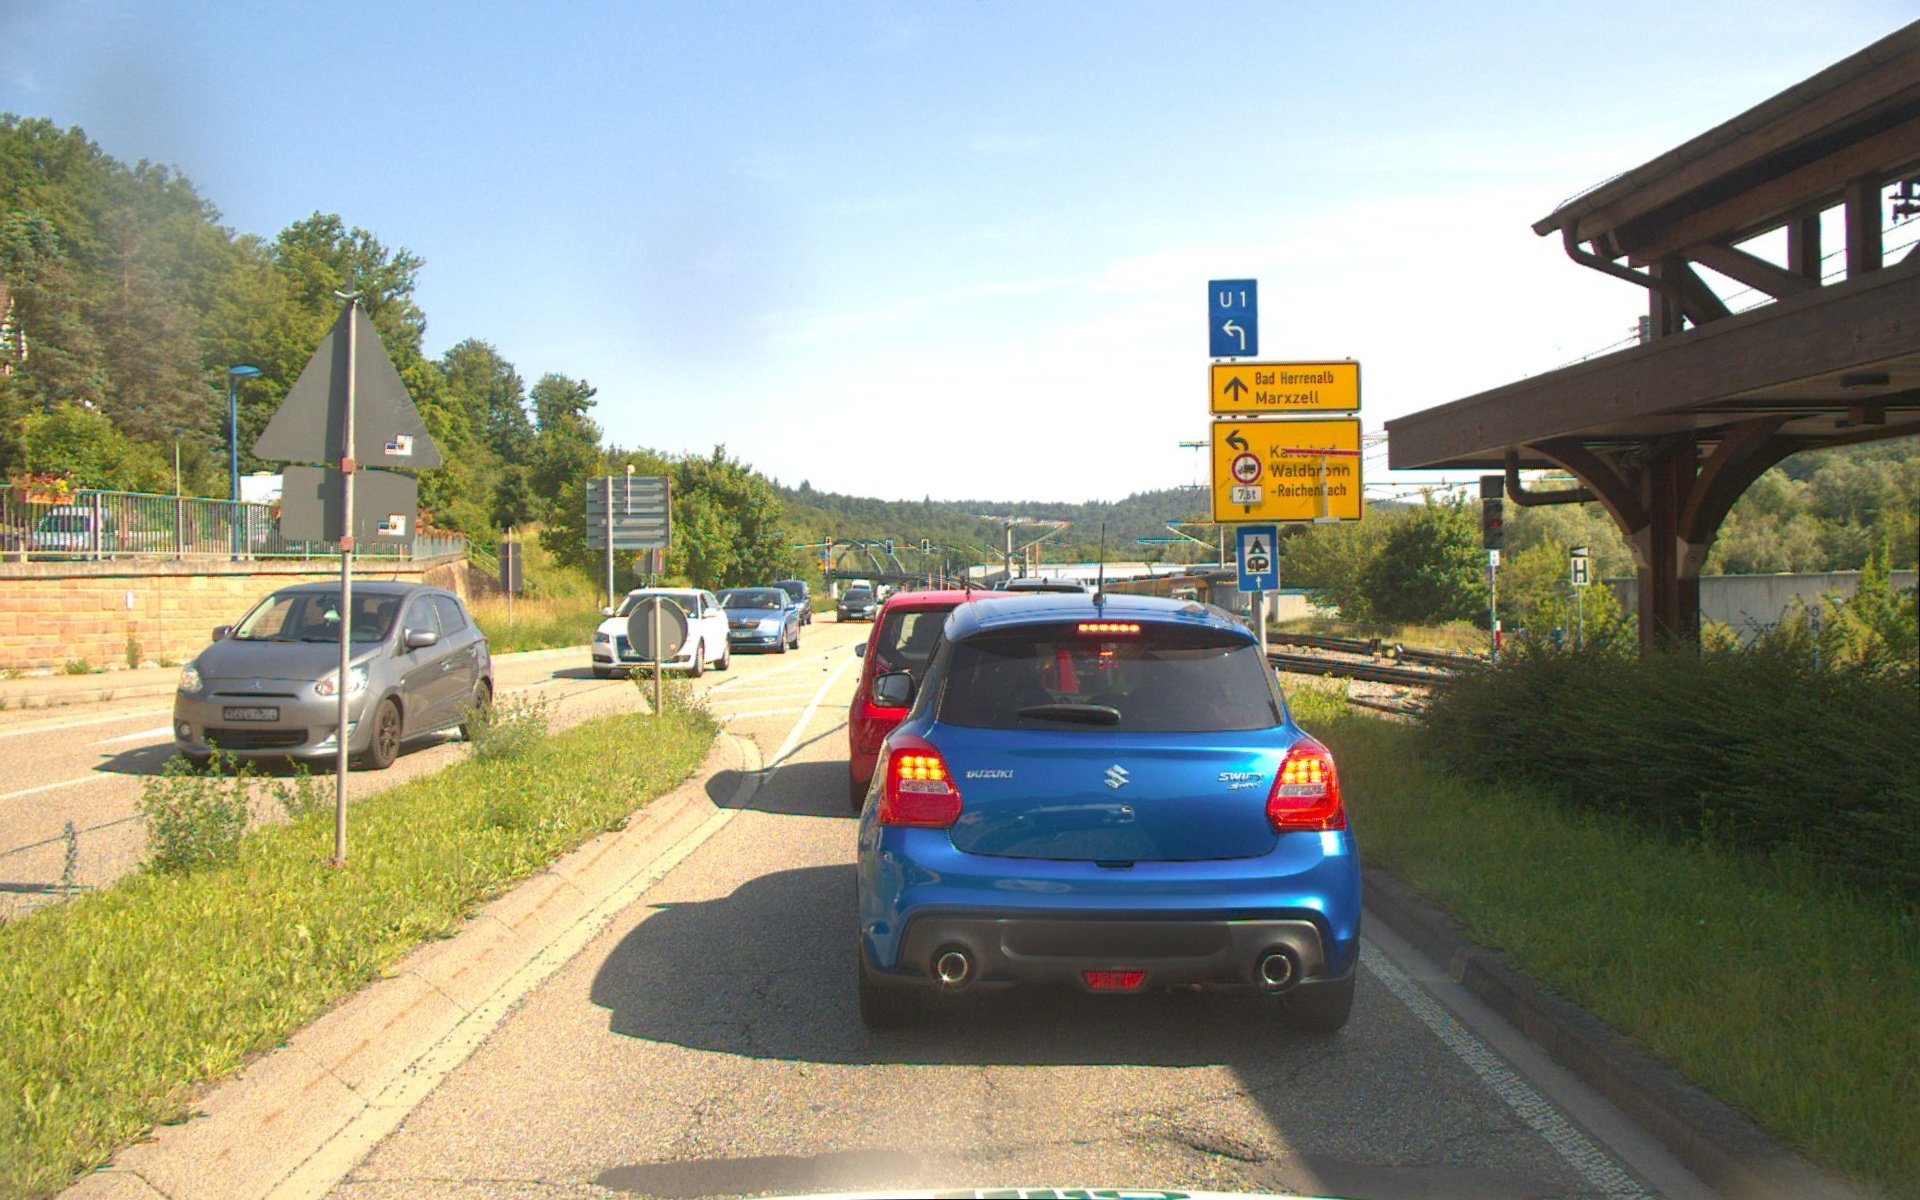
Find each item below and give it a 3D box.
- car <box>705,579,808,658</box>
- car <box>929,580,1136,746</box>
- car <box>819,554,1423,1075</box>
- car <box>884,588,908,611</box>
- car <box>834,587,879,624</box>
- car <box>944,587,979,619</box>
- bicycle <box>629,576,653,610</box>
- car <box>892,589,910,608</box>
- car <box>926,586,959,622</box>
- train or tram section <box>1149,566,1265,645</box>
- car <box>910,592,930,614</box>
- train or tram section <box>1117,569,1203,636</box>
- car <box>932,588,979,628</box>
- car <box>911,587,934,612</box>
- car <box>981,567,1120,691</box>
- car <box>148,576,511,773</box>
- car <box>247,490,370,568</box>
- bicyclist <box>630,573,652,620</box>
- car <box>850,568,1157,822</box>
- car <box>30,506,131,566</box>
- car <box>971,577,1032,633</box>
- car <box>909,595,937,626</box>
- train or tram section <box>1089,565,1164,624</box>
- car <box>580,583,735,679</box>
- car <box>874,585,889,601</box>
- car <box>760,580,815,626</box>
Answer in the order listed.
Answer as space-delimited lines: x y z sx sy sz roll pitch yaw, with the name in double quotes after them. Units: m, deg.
-4.577 0.379 37.699 1.795 1.493 3.812 2 3 1 "car"
0.719 0.574 17.969 1.952 1.558 4.602 0 1 1 "car"
0.444 0.640 7.026 1.831 1.575 3.999 1 0 -2 "car"
-5.399 -0.058 140.093 1.953 1.814 3.999 1 0 -1 "car"
-4.629 0.231 74.378 1.795 1.456 3.810 2 1 -2 "car"
0.100 0.139 88.874 1.794 1.519 3.812 2 1 1 "car"
-10.556 -0.232 54.695 0.555 1.061 1.550 2 1 -4 "bicycle"
-7.024 -0.179 196.075 1.953 2.048 4.000 2 1 -1 "car"
-1.082 0.226 103.286 1.953 2.048 4.000 2 1 -1 "car"
11.620 0.199 79.371 2.798 3.423 14.347 1 0 -2 "train or tram section"
-4.061 0.308 168.721 1.953 2.048 4.000 2 1 -1 "car"
11.027 0.142 92.392 2.731 3.423 12.041 2 0 -3 "train or tram section"
-0.159 0.312 67.474 1.794 1.456 3.812 2 1 1 "car"
-3.315 -0.063 146.340 1.953 2.048 4.000 2 1 -1 "car"
1.330 0.389 25.995 1.952 1.716 4.497 2 1 1 "car"
-5.277 0.561 14.395 1.637 1.466 3.840 1 0 1 "car"
-17.737 -1.909 45.282 1.982 1.953 4.724 2 1 -7 "car"
-10.546 -0.126 54.698 0.617 1.533 0.505 2 1 -4 "bicyclist"
0.305 0.612 12.694 1.952 1.598 4.000 1 0 1 "car"
-26.155 -1.869 49.324 1.864 1.658 3.982 0 1 -16 "car"
1.376 0.134 56.380 1.952 1.766 4.000 2 1 1 "car"
-2.690 0.756 120.781 1.953 2.048 4.000 2 1 -1 "car"
10.352 -0.311 104.280 2.701 3.423 12.039 2 0 -3 "train or tram section"
-4.949 0.459 27.572 1.795 1.393 3.950 1 1 1 "car"
-11.456 -1.006 242.194 1.953 2.181 4.719 1 0 -1 "car"
-7.056 0.100 68.007 1.795 1.743 3.811 2 1 1 "car"
